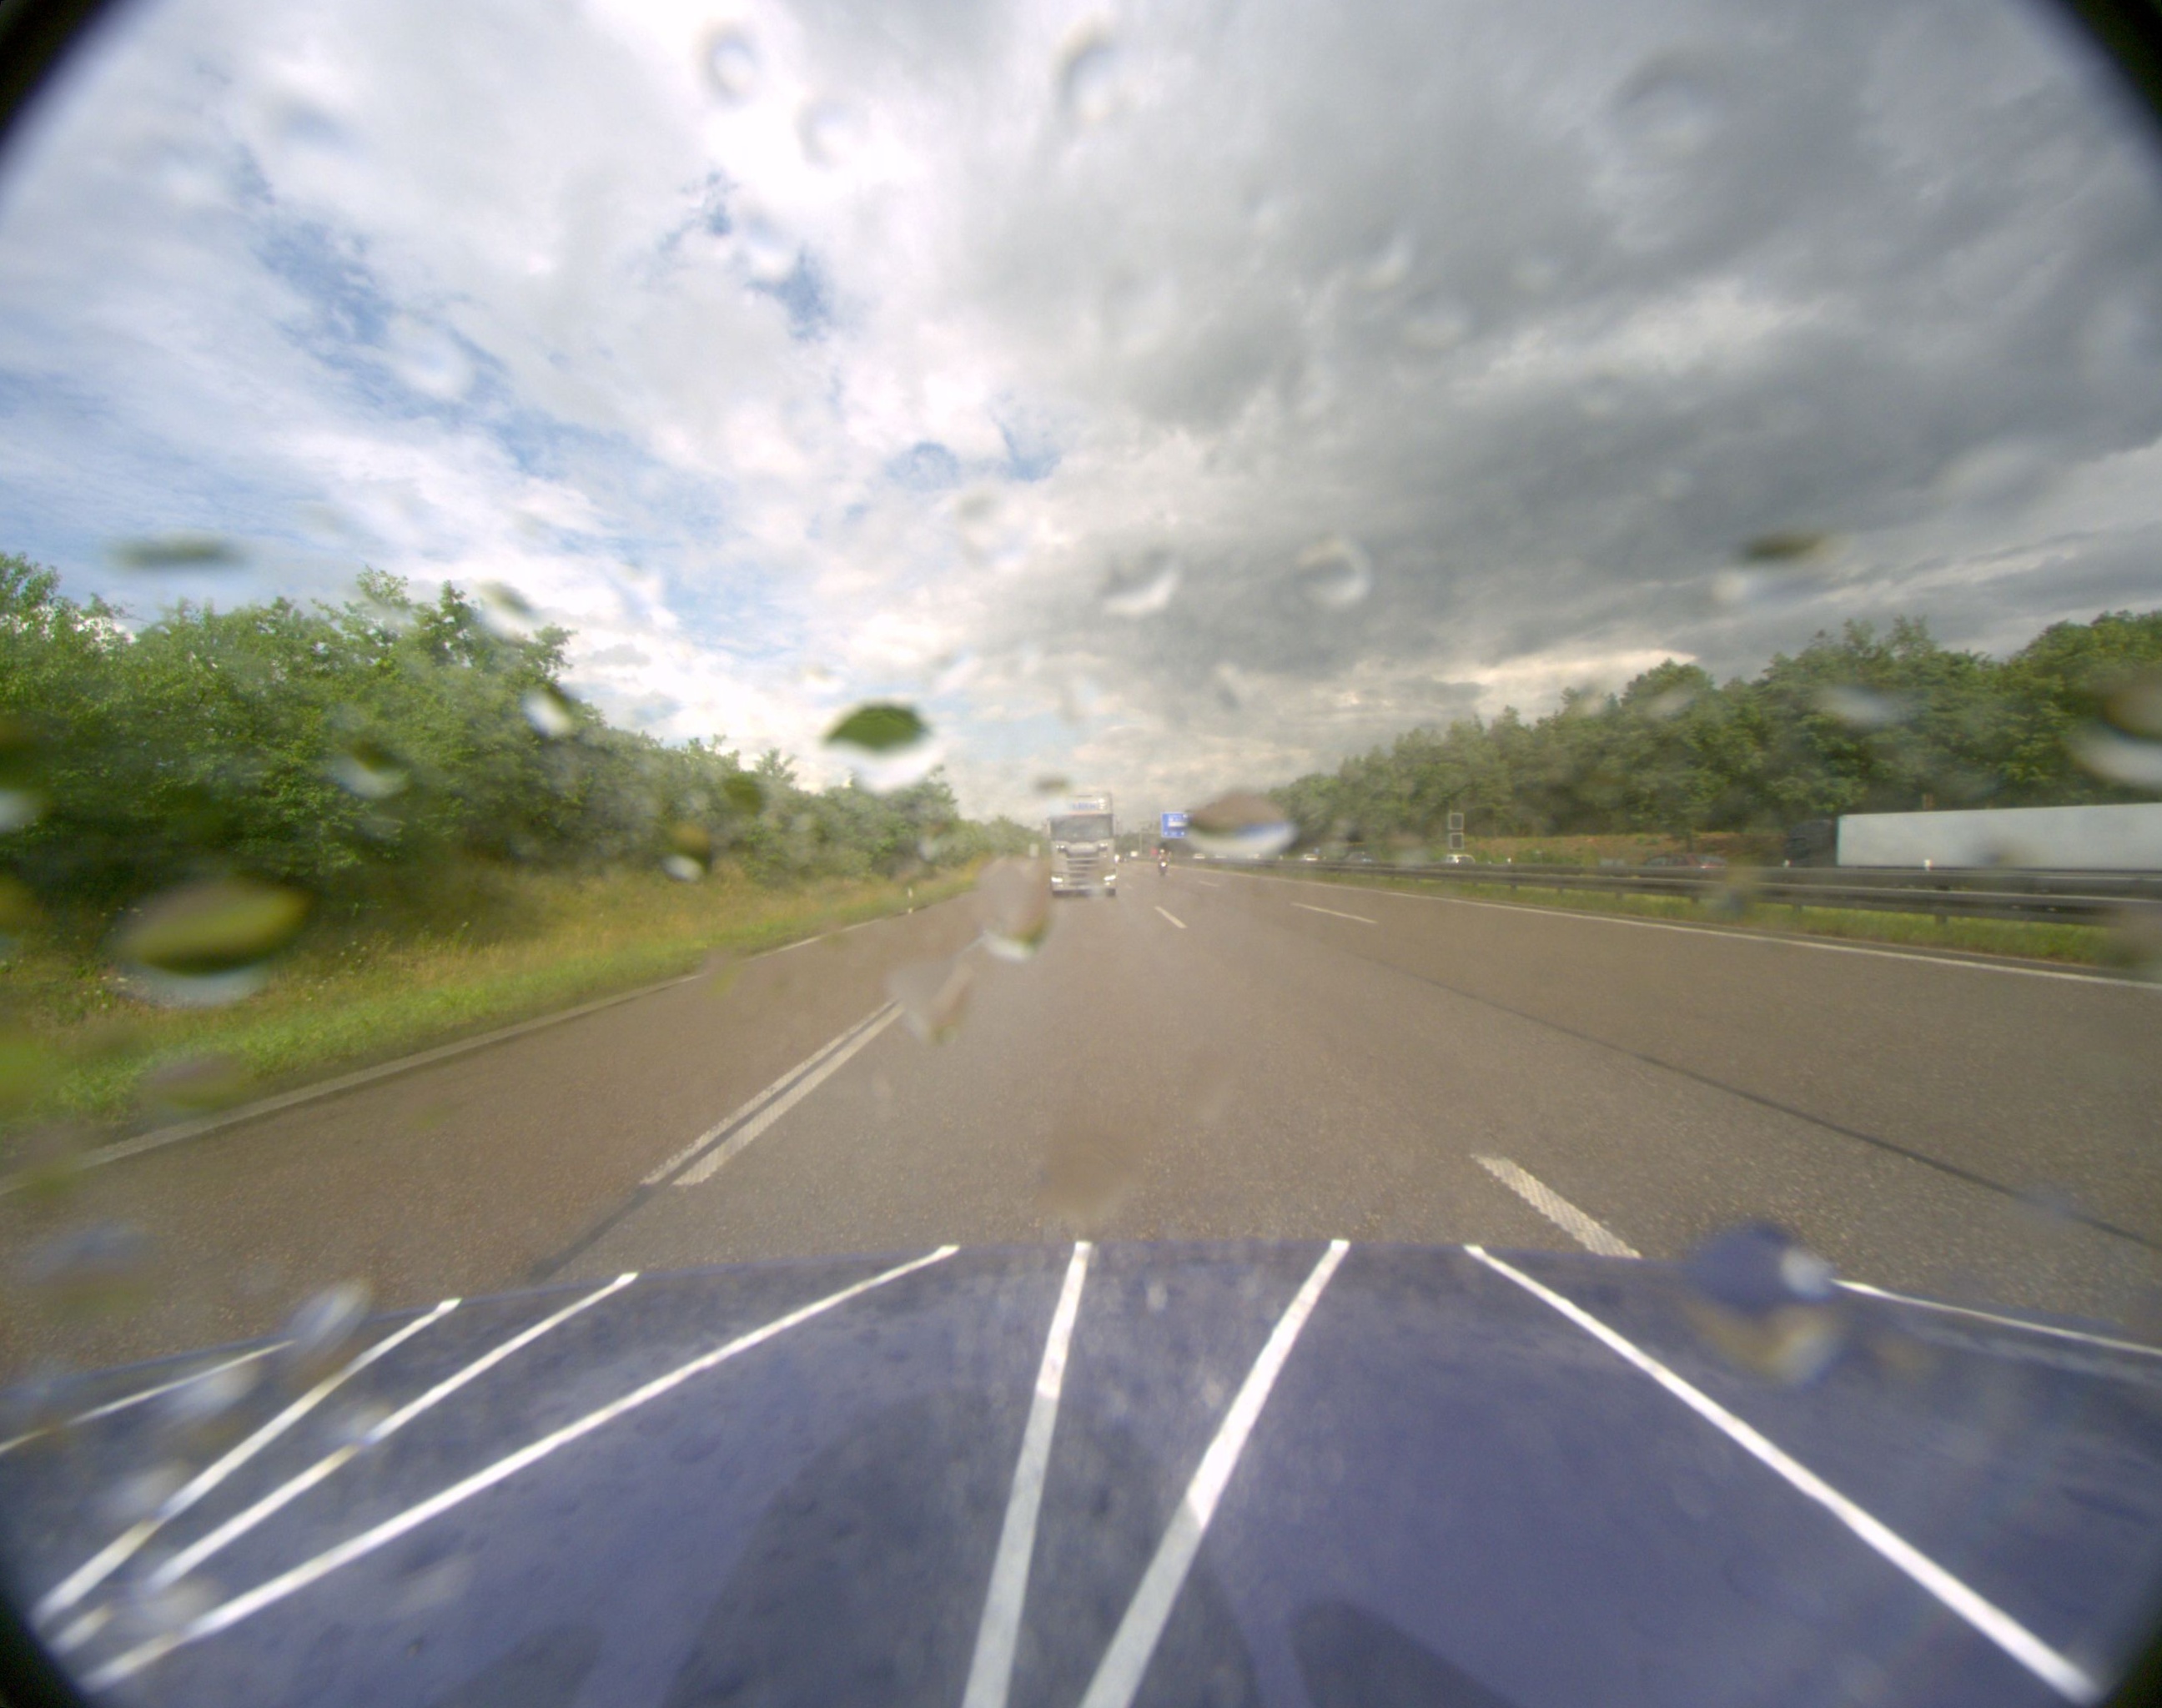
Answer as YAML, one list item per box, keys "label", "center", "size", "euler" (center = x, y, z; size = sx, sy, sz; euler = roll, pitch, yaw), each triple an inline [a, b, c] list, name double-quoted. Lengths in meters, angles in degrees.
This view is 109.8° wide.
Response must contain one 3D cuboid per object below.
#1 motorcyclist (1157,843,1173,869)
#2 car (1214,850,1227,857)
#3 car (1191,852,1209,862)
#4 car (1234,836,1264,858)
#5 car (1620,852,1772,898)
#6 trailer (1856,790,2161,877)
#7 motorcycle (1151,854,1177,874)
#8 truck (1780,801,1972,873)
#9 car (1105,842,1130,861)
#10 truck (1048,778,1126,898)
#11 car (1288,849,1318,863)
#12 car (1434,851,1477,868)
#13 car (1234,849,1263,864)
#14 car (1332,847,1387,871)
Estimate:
- label: "motorcyclist"
  center: [5.676, 0.104, 51.221]
  size: [0.883, 1.696, 1.000]
  euler: [-2, 1, -1]
- label: "car"
  center: [21.634, -0.060, 118.102]
  size: [1.449, 1.051, 3.114]
  euler: [-2, 1, 1]
- label: "car"
  center: [18.142, 0.491, 115.856]
  size: [1.903, 1.384, 5.420]
  euler: [-2, 1, 1]
- label: "car"
  center: [25.336, -1.132, 115.089]
  size: [2.951, 3.092, 7.343]
  euler: [-2, 1, 1]
- label: "car"
  center: [21.697, 0.672, 27.065]
  size: [1.835, 1.384, 4.433]
  euler: [-2, 1, 1]
- label: "trailer"
  center: [46.835, -0.902, 37.250]
  size: [3.215, 3.717, 12.554]
  euler: [-1, 0, -13]
- label: "motorcycle"
  center: [5.577, 0.672, 51.290]
  size: [1.188, 1.219, 3.193]
  euler: [-2, 1, -2]
- label: "truck"
  center: [45.318, -0.936, 43.654]
  size: [3.219, 3.683, 6.908]
  euler: [-3, 1, -13]
- label: "car"
  center: [4.921, -0.396, 103.840]
  size: [2.650, 2.460, 6.882]
  euler: [-2, 1, -2]
- label: "truck"
  center: [0.097, -0.628, 31.036]
  size: [2.650, 4.250, 6.882]
  euler: [-2, 1, -2]
- label: "car"
  center: [25.036, 0.212, 85.842]
  size: [1.978, 1.384, 5.158]
  euler: [-2, 1, 1]
- label: "car"
  center: [25.702, 0.385, 52.206]
  size: [1.449, 1.051, 3.114]
  euler: [-2, 1, 1]
- label: "car"
  center: [17.818, 0.213, 80.857]
  size: [1.903, 1.384, 5.420]
  euler: [-2, 1, 1]
- label: "car"
  center: [17.469, 0.291, 47.841]
  size: [1.835, 1.384, 4.433]
  euler: [-2, 1, 1]
